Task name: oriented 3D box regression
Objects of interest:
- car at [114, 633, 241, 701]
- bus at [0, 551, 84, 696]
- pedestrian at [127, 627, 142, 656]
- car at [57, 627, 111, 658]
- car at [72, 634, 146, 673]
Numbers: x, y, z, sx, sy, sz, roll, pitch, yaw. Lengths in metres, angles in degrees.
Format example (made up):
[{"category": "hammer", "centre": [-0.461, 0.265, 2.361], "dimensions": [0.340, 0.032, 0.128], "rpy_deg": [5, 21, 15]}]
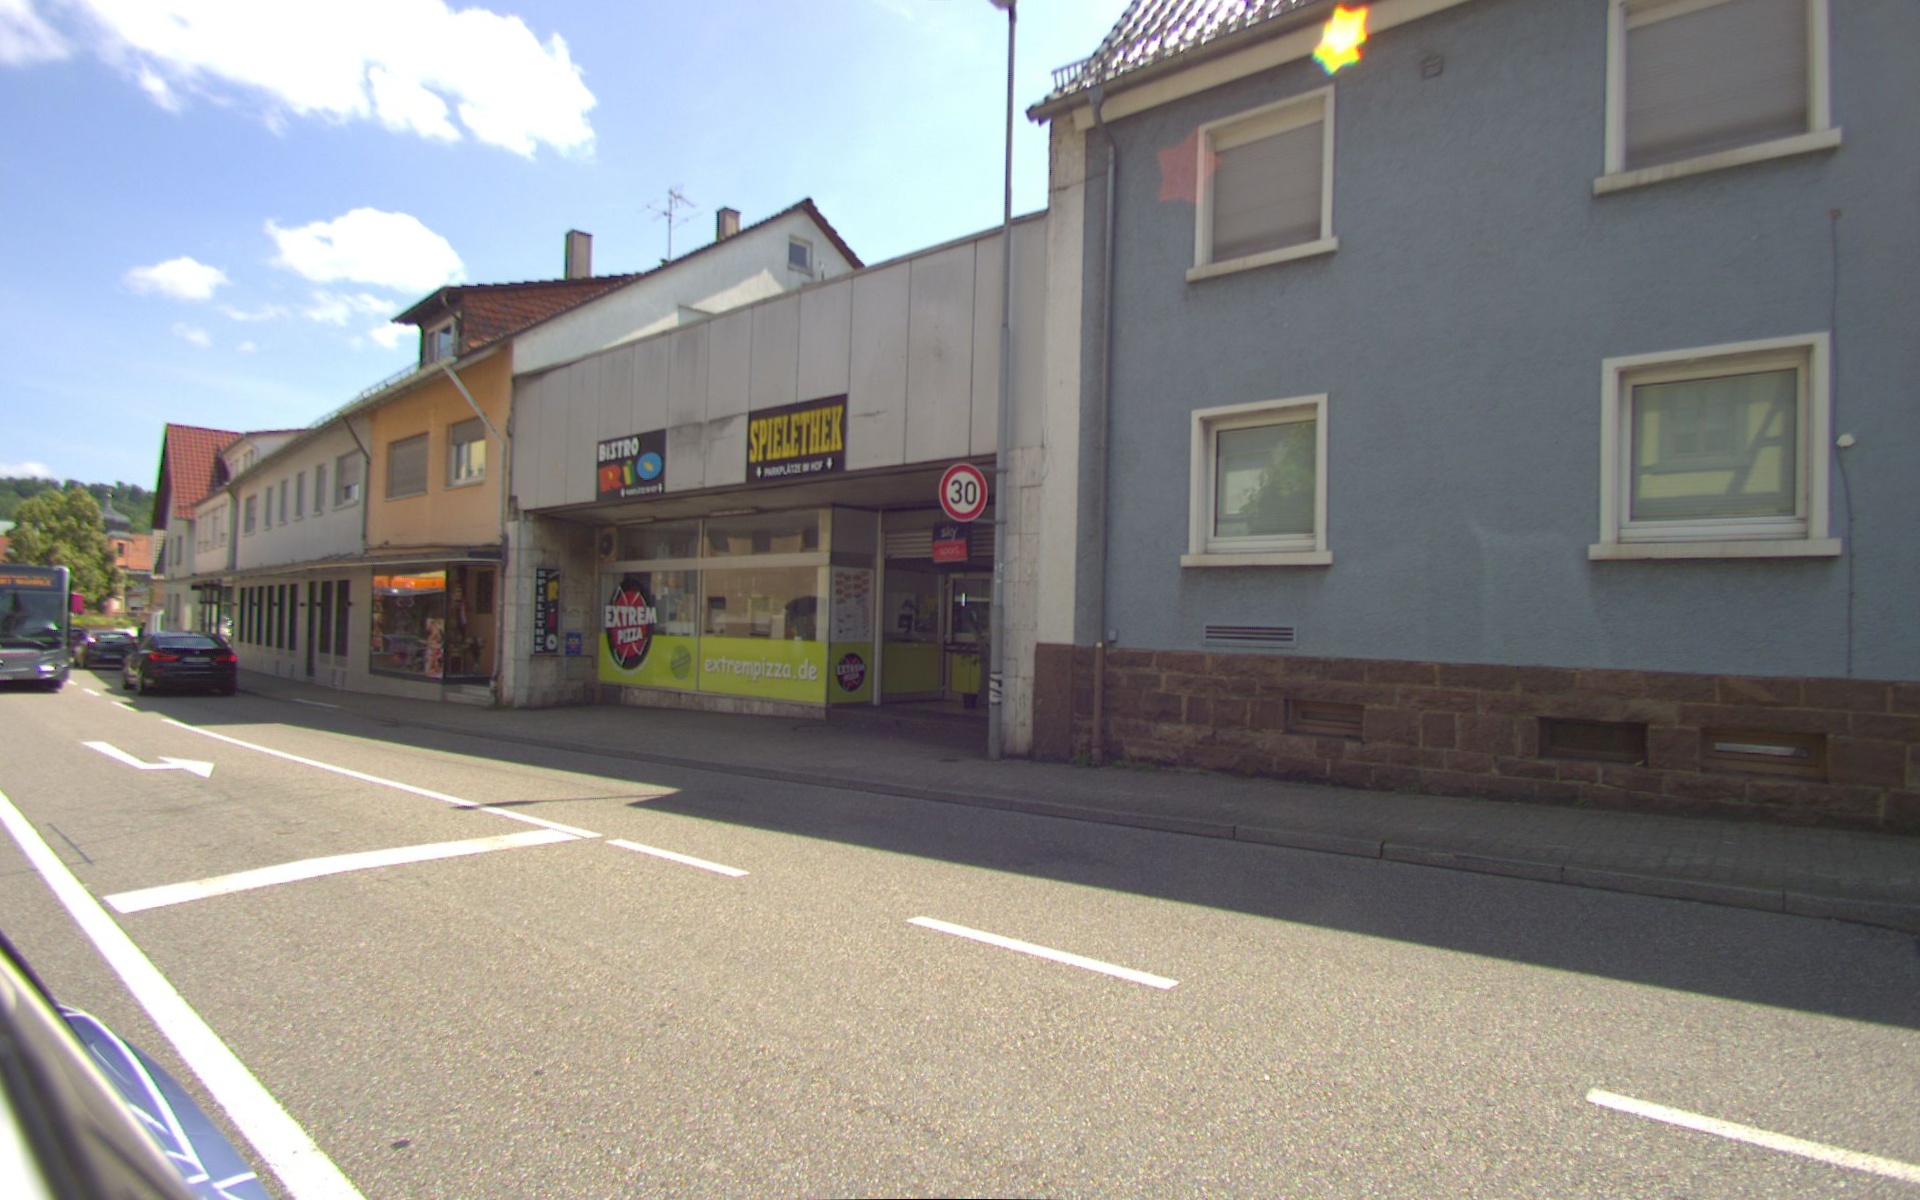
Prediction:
[{"category": "car", "centre": [-19.694, 1.647, 25.381], "dimensions": [4.798, 1.498, 1.776], "rpy_deg": [-1, -5, 44]}, {"category": "bus", "centre": [-27.874, 0.786, 29.393], "dimensions": [2.818, 3.229, 19.049], "rpy_deg": [1, -2, -43]}, {"category": "pedestrian", "centre": [-50.960, 2.537, 62.472], "dimensions": [0.476, 1.777, 0.467], "rpy_deg": [0, -2, 23]}, {"category": "car", "centre": [-44.177, 2.154, 51.012], "dimensions": [4.286, 1.419, 1.698], "rpy_deg": [-3, -6, 45]}, {"category": "car", "centre": [-32.619, 2.055, 38.766], "dimensions": [3.820, 1.434, 1.698], "rpy_deg": [-3, -5, 43]}]
